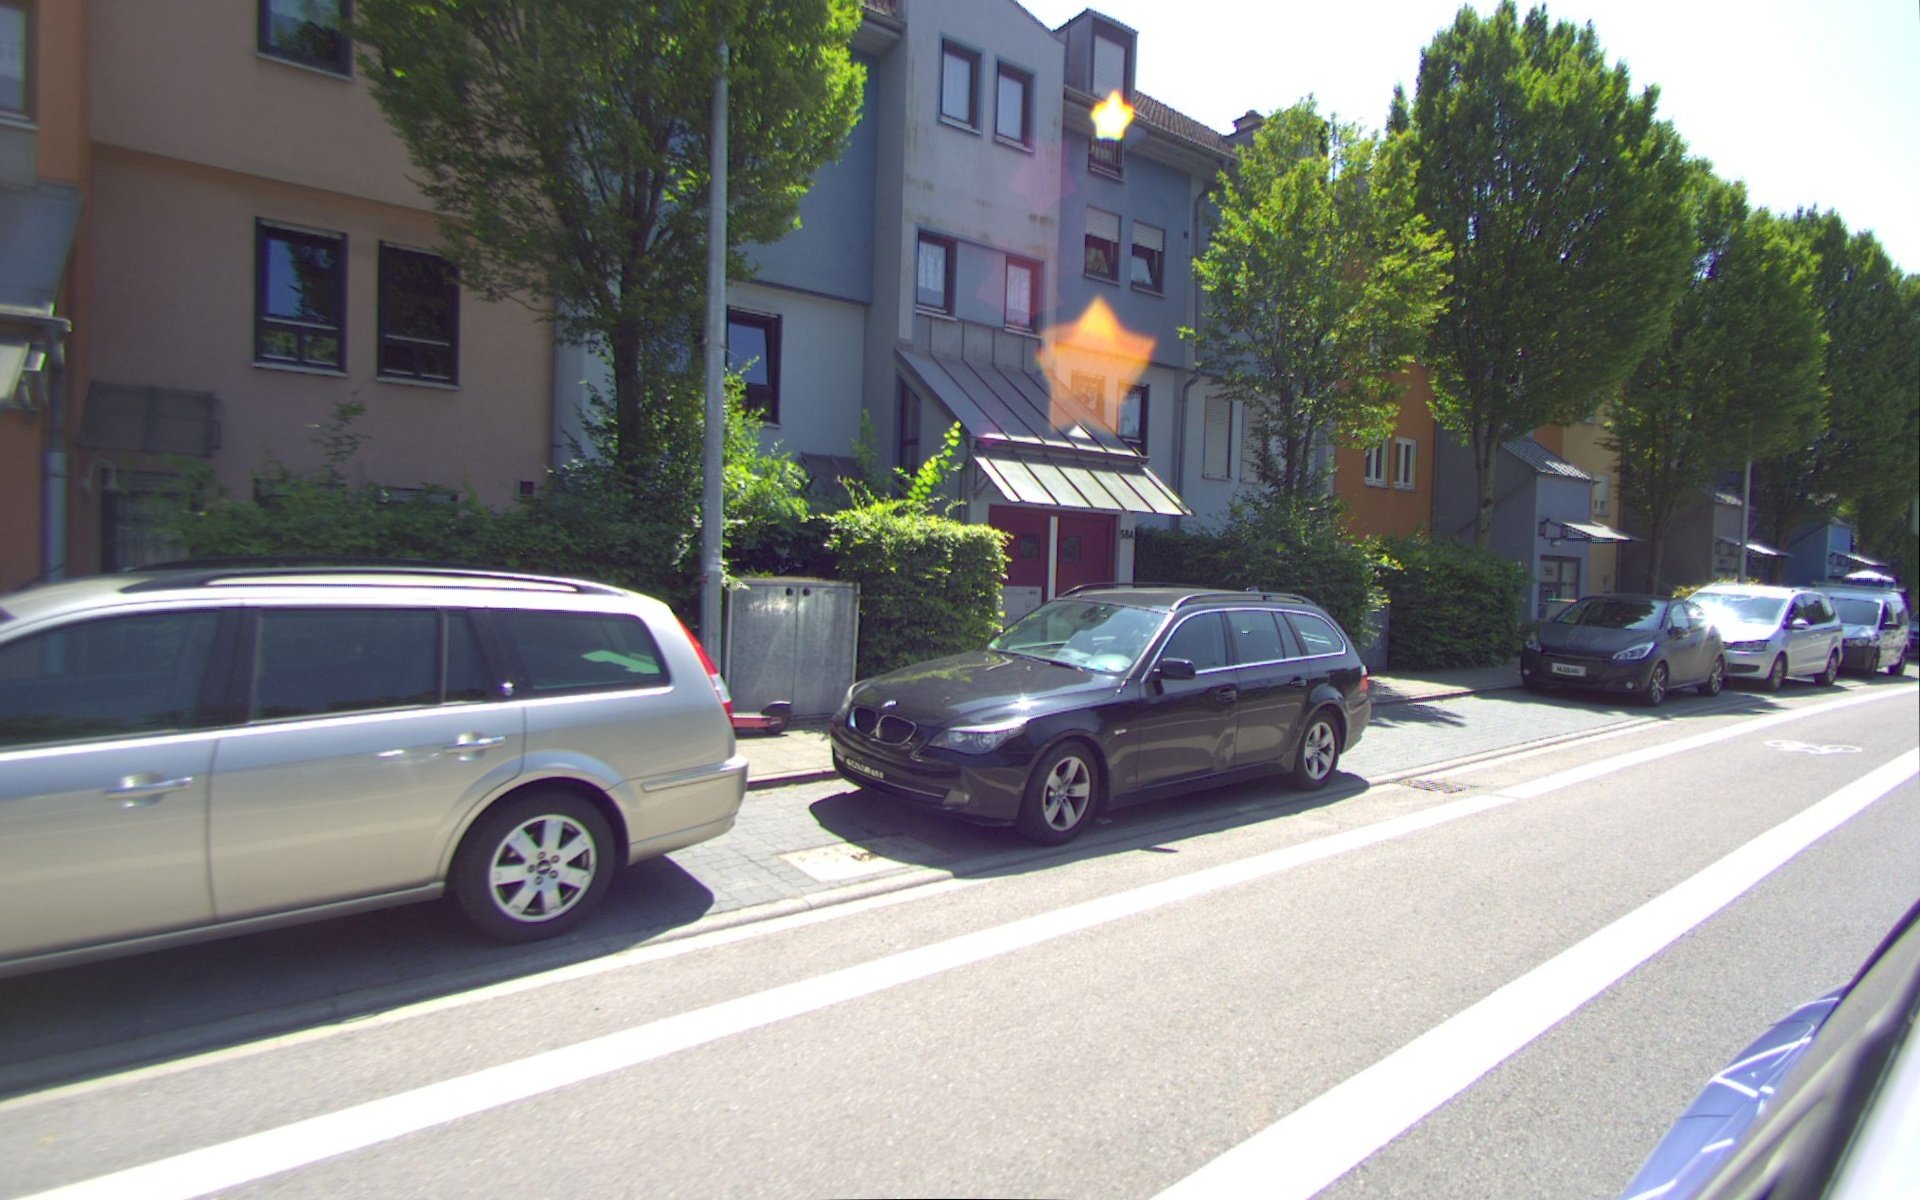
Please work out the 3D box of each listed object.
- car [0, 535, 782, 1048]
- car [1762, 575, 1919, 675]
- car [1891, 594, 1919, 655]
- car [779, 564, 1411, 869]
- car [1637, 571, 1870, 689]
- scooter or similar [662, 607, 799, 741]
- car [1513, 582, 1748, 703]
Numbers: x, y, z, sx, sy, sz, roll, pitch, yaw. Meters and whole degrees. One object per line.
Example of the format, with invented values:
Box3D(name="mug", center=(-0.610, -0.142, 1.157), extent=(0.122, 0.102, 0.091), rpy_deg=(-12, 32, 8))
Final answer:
Box3D(name="car", center=(-3.189, 0.553, 3.970), extent=(4.648, 1.510, 1.711), rpy_deg=(0, 5, -41))
Box3D(name="car", center=(19.053, 0.483, 21.662), extent=(4.272, 1.815, 1.847), rpy_deg=(1, 4, -37))
Box3D(name="car", center=(27.061, 0.732, 27.317), extent=(4.134, 1.547, 1.849), rpy_deg=(1, 4, -34))
Box3D(name="car", center=(1.284, 0.604, 7.544), extent=(4.948, 1.510, 1.712), rpy_deg=(0, 4, -40))
Box3D(name="car", center=(13.995, 0.468, 17.764), extent=(4.687, 1.714, 1.848), rpy_deg=(1, 4, -35))
Box3D(name="scooter or similar", center=(-1.886, 0.585, 8.345), extent=(1.060, 1.044, 0.335), rpy_deg=(0, 0, -25))
Box3D(name="car", center=(9.900, 0.546, 14.834), extent=(4.103, 1.440, 1.589), rpy_deg=(1, 4, -38))
